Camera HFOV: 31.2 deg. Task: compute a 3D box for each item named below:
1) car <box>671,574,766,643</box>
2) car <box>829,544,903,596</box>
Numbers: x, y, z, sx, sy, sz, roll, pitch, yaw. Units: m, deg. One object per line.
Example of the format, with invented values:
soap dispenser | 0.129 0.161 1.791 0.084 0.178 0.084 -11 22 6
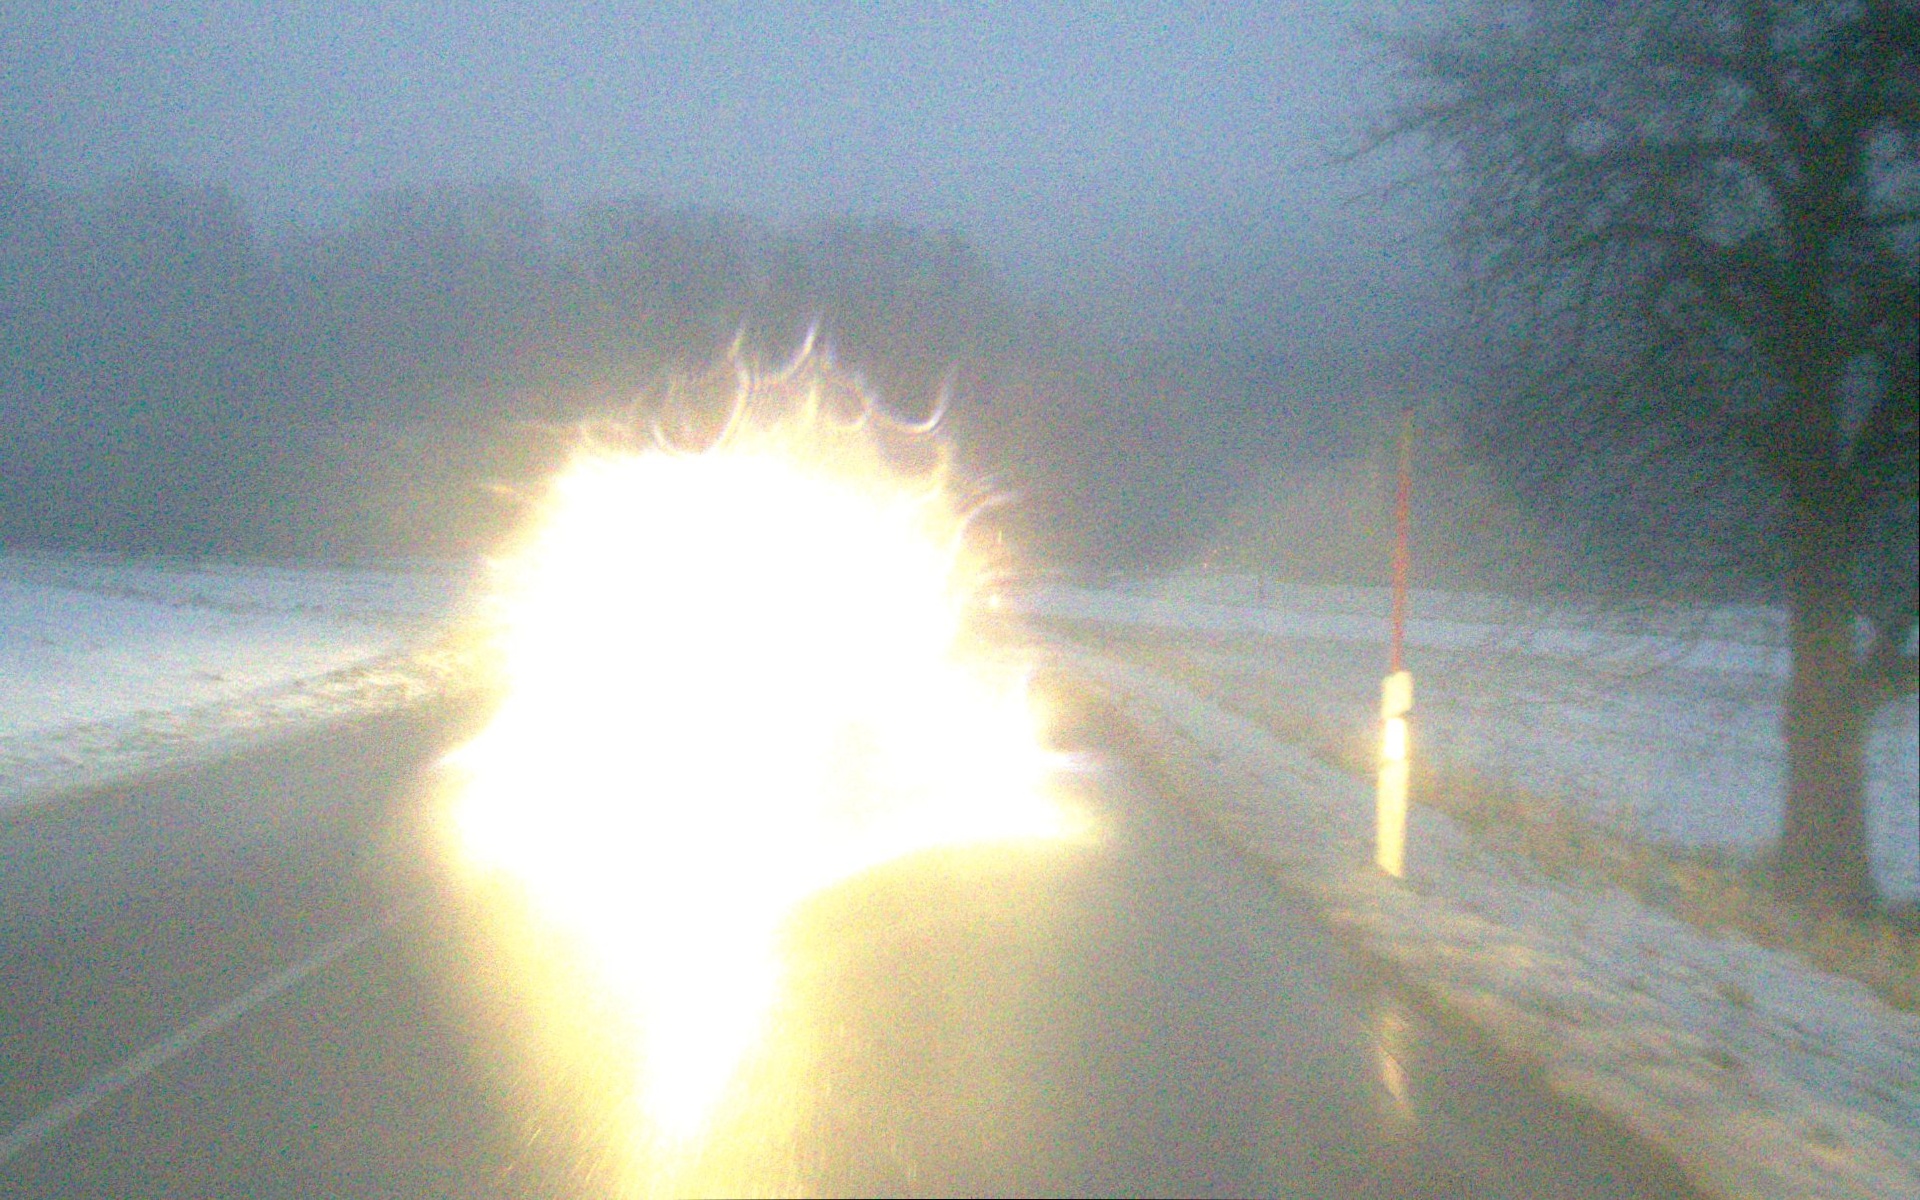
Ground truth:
car | -5.001 0.157 71.636 1.727 1.341 4.222 -1 0 -1
car | -4.016 -1.306 147.353 1.995 2.044 3.997 5 3 15
